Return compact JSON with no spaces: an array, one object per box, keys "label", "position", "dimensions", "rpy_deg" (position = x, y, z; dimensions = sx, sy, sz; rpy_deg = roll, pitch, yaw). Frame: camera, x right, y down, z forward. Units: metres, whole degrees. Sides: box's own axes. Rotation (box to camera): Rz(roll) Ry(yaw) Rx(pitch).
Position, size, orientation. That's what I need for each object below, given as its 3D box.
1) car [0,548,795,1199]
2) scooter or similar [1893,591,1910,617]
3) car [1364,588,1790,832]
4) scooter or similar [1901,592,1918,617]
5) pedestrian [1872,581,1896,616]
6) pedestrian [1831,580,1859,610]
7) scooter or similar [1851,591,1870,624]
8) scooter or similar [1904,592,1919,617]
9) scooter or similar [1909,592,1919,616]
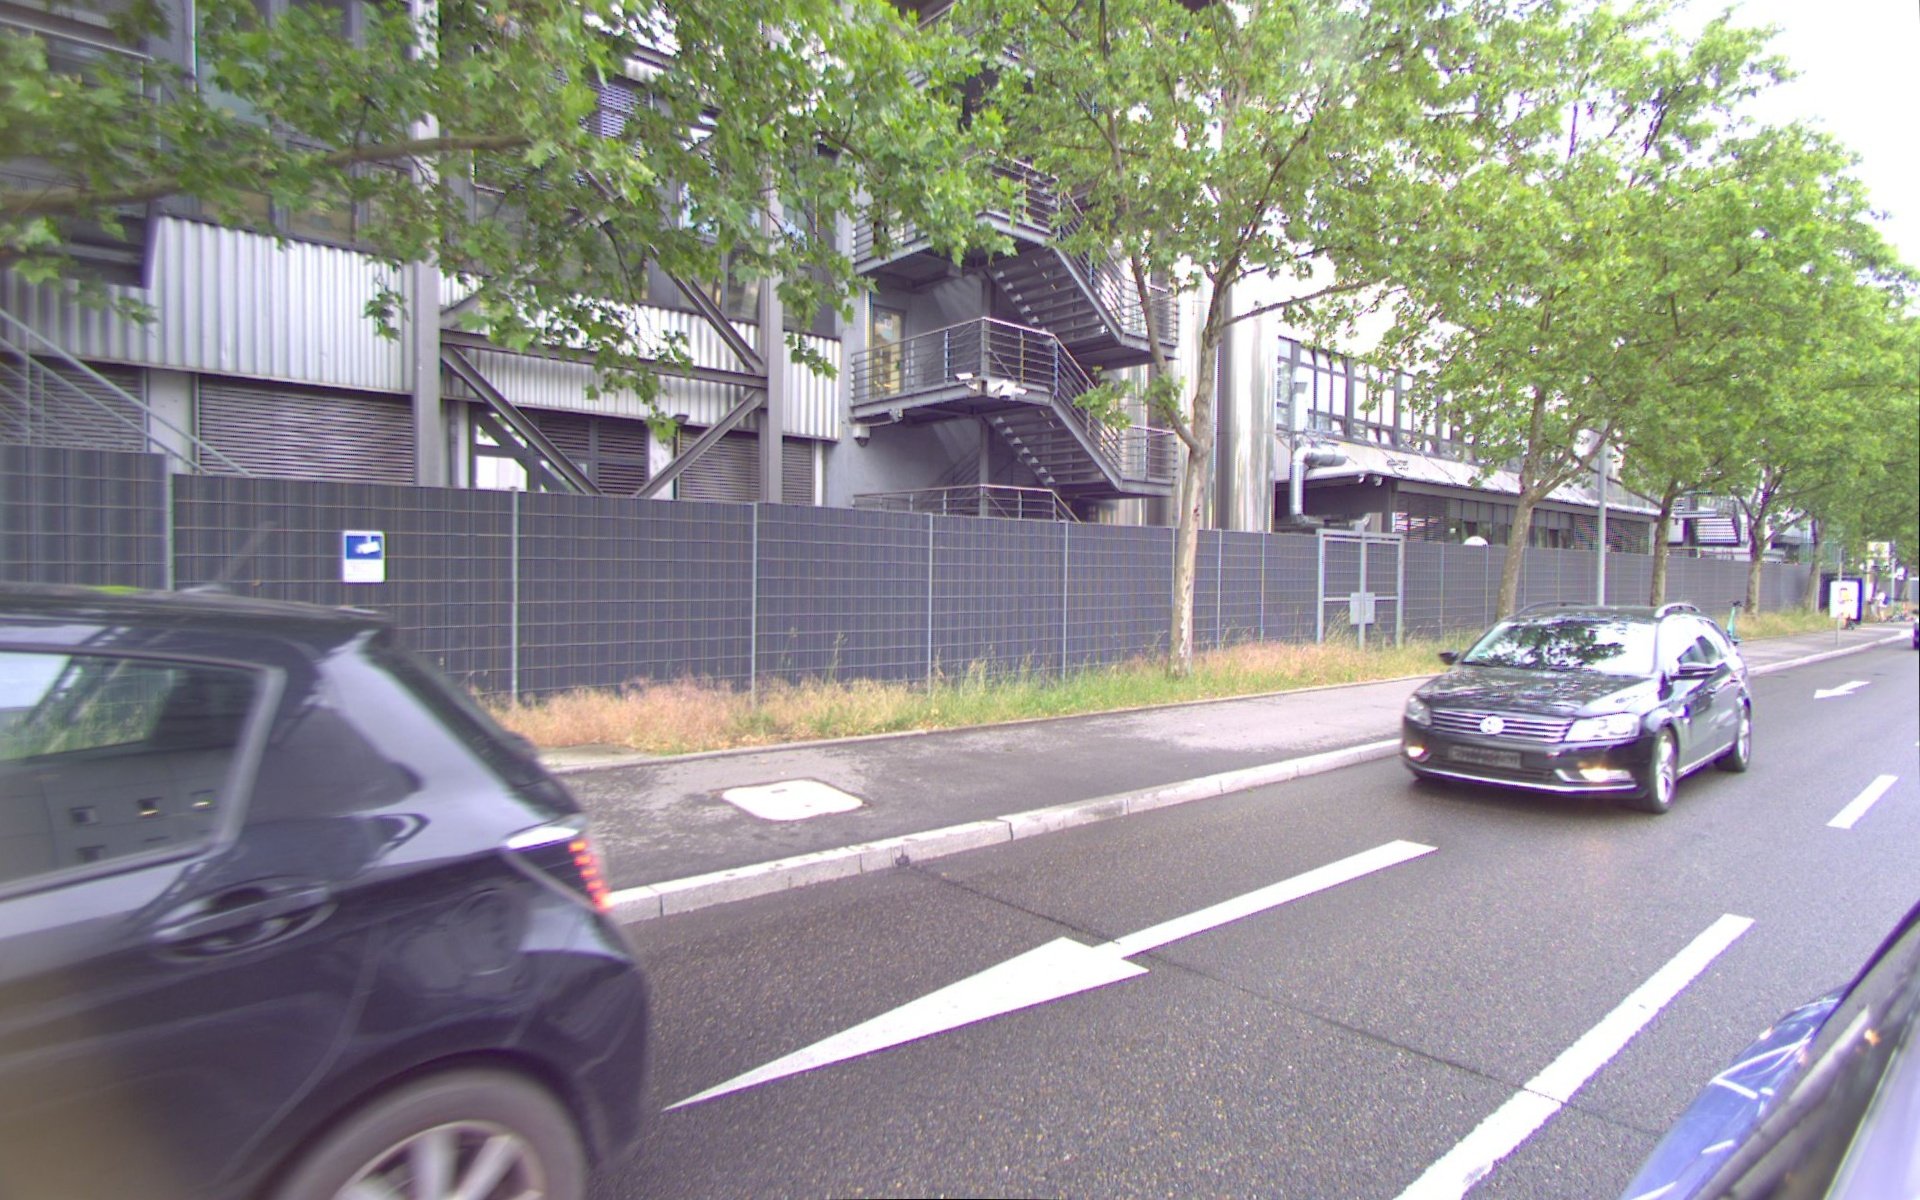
[{"label":"car","position":[-2.437,0.667,1.419],"dimensions":[4.010,1.512,1.877],"rpy_deg":[0,3,-45]},{"label":"scooter or similar","position":[48.399,0.207,52.007],"dimensions":[1.277,1.311,0.437],"rpy_deg":[0,1,-39]},{"label":"car","position":[5.320,0.648,8.403],"dimensions":[4.705,1.471,1.840],"rpy_deg":[0,0,-43]},{"label":"scooter or similar","position":[49.548,0.229,52.808],"dimensions":[1.277,1.311,0.437],"rpy_deg":[0,1,-39]},{"label":"pedestrian","position":[46.339,-0.074,50.741],"dimensions":[0.717,1.731,0.777],"rpy_deg":[0,1,-42]},{"label":"pedestrian","position":[42.761,-0.250,48.911],"dimensions":[0.686,1.433,0.932],"rpy_deg":[0,2,-42]},{"label":"scooter or similar","position":[37.301,0.297,41.912],"dimensions":[1.222,1.325,0.329],"rpy_deg":[0,1,-37]},{"label":"scooter or similar","position":[51.235,0.212,54.433],"dimensions":[1.277,1.311,0.437],"rpy_deg":[0,1,-39]},{"label":"scooter or similar","position":[52.551,0.203,55.487],"dimensions":[1.341,1.311,0.437],"rpy_deg":[0,1,-34]}]
